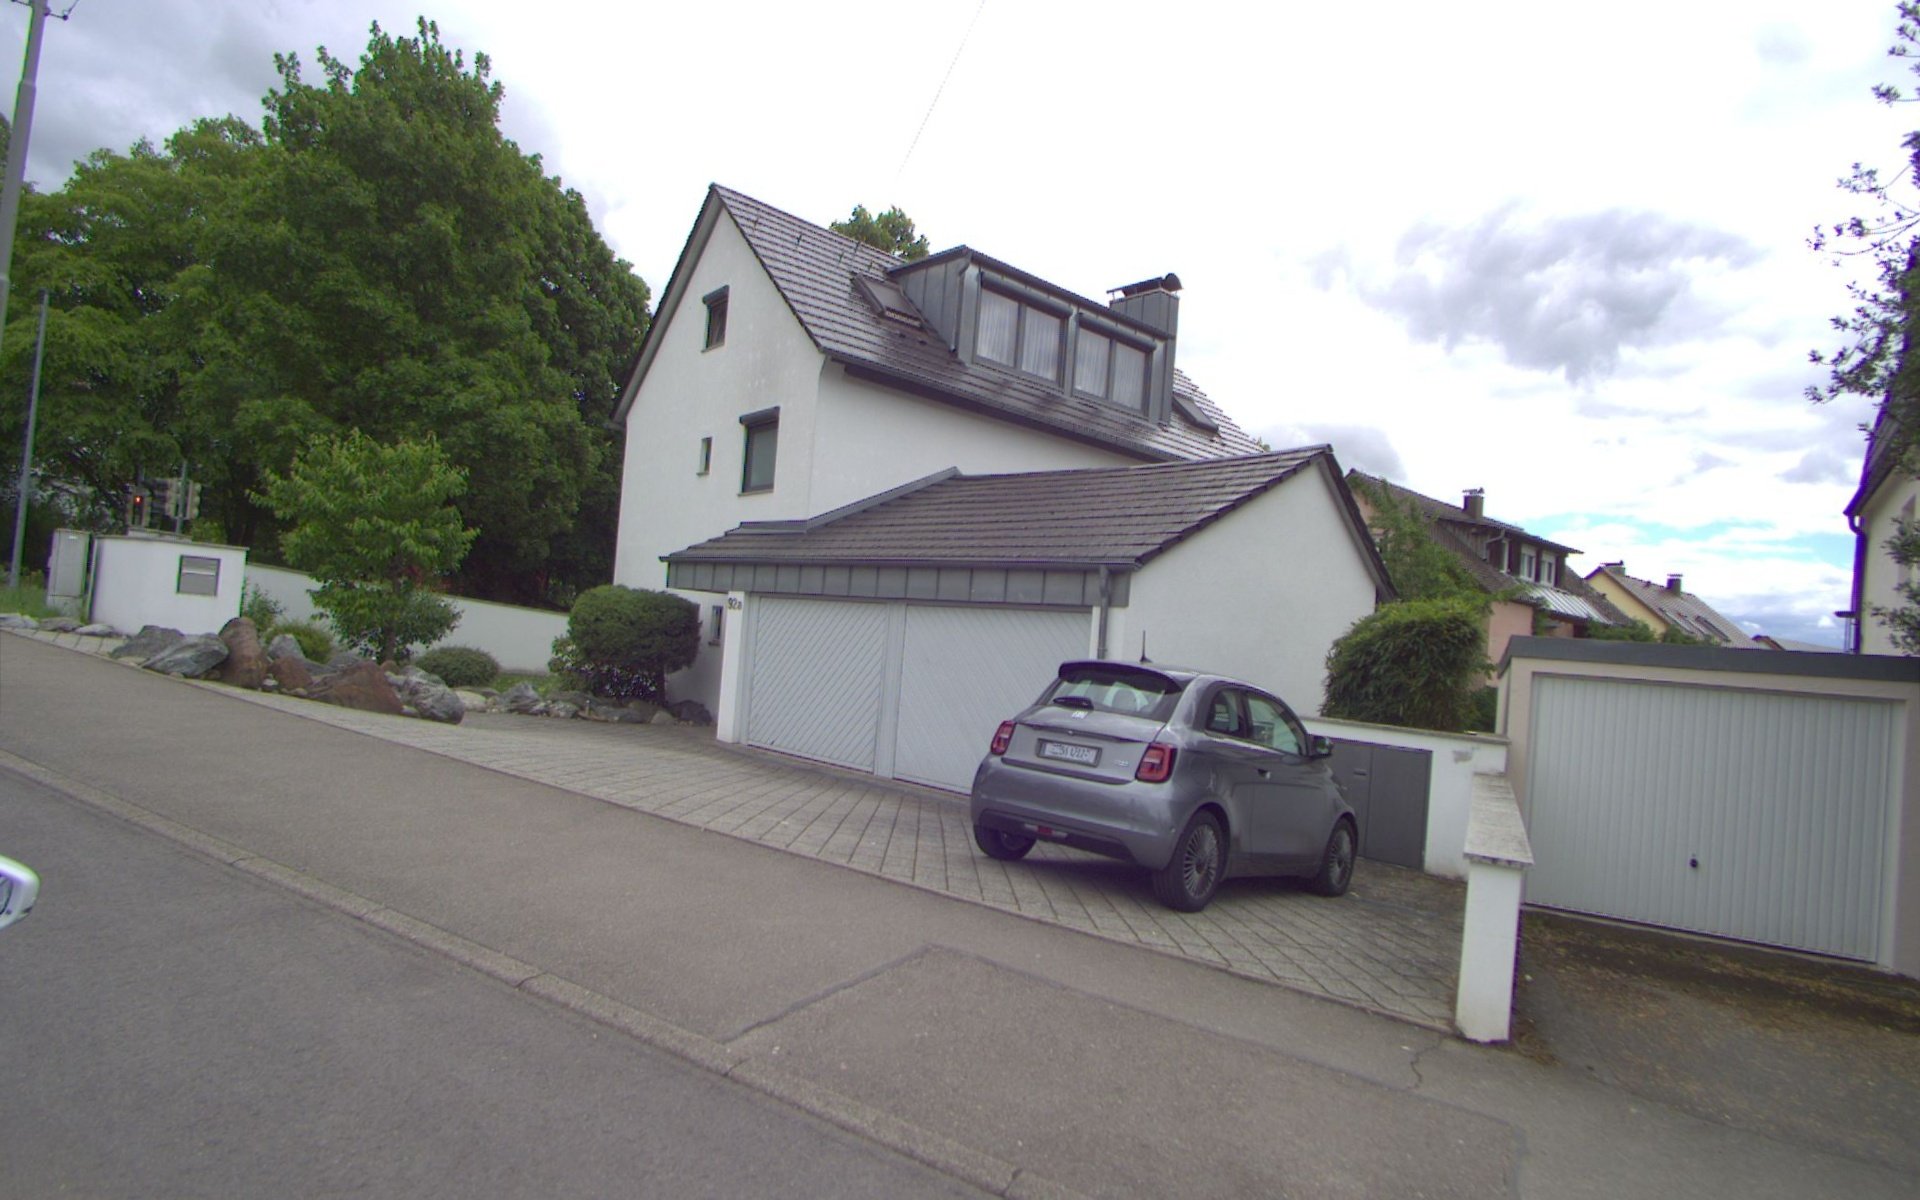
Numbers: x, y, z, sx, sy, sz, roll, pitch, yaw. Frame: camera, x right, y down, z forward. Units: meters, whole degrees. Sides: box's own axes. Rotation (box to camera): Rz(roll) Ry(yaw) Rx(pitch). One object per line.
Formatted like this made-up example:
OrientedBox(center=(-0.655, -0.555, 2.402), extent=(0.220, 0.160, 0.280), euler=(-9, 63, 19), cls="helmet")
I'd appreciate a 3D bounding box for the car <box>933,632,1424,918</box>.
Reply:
OrientedBox(center=(1.882, 1.354, 7.677), extent=(1.766, 1.486, 3.988), euler=(4, -8, 43), cls="car")
